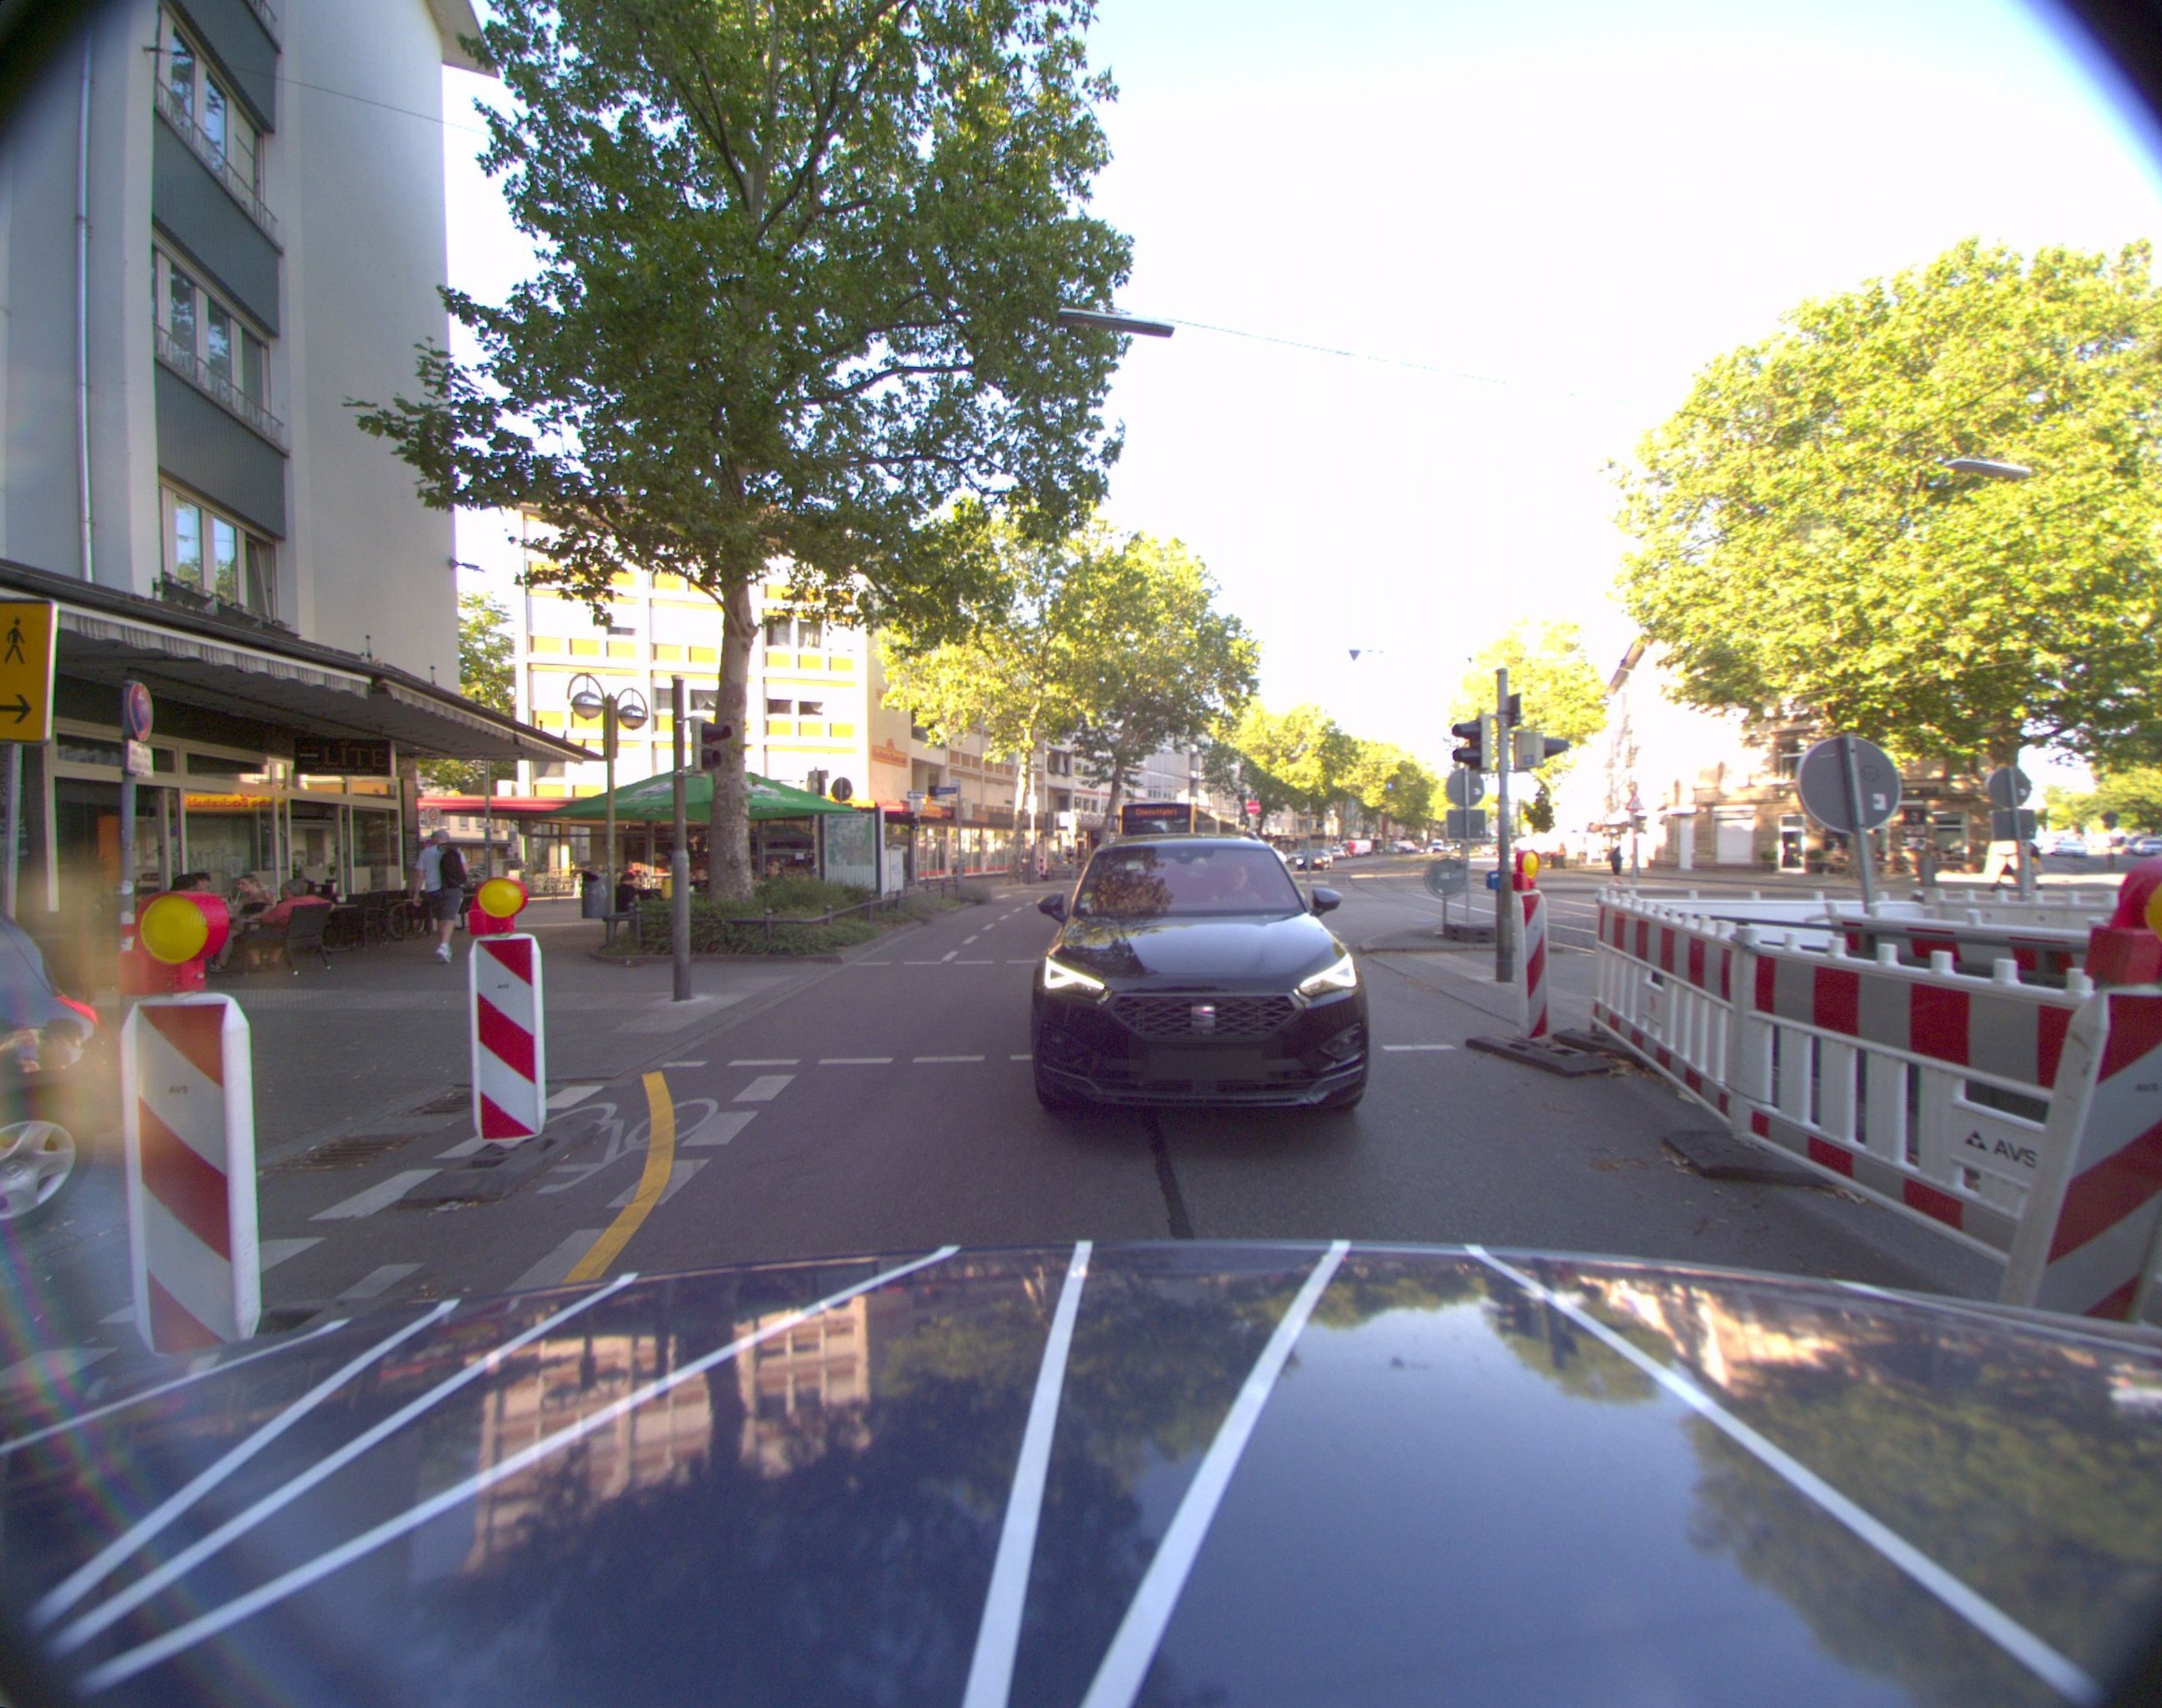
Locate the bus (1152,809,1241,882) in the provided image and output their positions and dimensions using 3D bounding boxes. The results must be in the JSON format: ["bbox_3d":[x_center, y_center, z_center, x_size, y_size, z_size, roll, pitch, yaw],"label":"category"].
[{"bbox_3d":[5.805,-0.400,36.783,2.717,3.088,8.608,0,1,19],"label":"bus"}]

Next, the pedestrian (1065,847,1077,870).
[{"bbox_3d":[-0.679,0.321,52.648,0.627,1.577,0.532,0,1,20],"label":"pedestrian"}]

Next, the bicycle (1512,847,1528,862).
[{"bbox_3d":[35.554,0.048,61.585,0.850,1.186,2.470,0,1,24],"label":"bicycle"}]

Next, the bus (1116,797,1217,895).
[{"bbox_3d":[3.452,-0.293,28.305,2.718,3.088,8.629,0,1,13],"label":"bus"}]

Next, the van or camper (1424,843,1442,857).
[{"bbox_3d":[71.307,-0.774,153.808,2.420,2.702,6.144,0,1,32],"label":"van or camper"}]

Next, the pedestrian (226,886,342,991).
[{"bbox_3d":[-9.838,1.009,9.390,0.877,1.186,0.701,0,1,24],"label":"pedestrian"}]

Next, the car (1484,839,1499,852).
[{"bbox_3d":[62.859,-1.261,116.296,1.994,2.002,4.007,0,1,29],"label":"car"}]

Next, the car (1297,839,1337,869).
[{"bbox_3d":[16.566,-0.027,53.267,1.995,2.002,4.007,0,1,27],"label":"car"}]

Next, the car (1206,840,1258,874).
[{"bbox_3d":[9.190,0.148,45.996,1.995,2.002,4.105,0,1,29],"label":"car"}]

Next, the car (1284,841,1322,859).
[{"bbox_3d":[24.583,-0.414,84.245,3.991,2.002,2.003,0,1,18],"label":"car"}]

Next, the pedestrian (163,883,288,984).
[{"bbox_3d":[-10.772,0.980,9.594,0.647,1.186,0.792,0,1,7],"label":"pedestrian"}]

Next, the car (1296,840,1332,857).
[{"bbox_3d":[28.351,-0.692,92.519,3.994,2.002,2.001,-1,1,8],"label":"car"}]

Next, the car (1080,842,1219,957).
[{"bbox_3d":[1.018,0.639,13.000,1.998,1.634,4.075,-1,1,1],"label":"car"}]

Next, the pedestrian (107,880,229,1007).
[{"bbox_3d":[-10.157,0.959,8.464,0.789,1.299,0.701,0,1,28],"label":"pedestrian"}]

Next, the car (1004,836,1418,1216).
[{"bbox_3d":[0.611,0.758,5.403,1.841,1.696,4.000,-1,1,1],"label":"car"}]

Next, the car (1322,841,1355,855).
[{"bbox_3d":[36.456,-0.847,107.643,3.994,2.002,2.001,-1,1,8],"label":"car"}]

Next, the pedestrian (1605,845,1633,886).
[{"bbox_3d":[20.310,0.434,28.695,0.603,1.524,0.745,0,1,12],"label":"pedestrian"}]

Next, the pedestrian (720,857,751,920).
[{"bbox_3d":[-9.115,0.907,20.078,0.629,1.628,0.531,-1,1,-15],"label":"pedestrian"}]

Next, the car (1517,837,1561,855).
[{"bbox_3d":[52.395,-0.951,86.917,4.001,2.002,1.997,-1,1,-13],"label":"car"}]

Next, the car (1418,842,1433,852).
[{"bbox_3d":[60.847,-1.214,134.212,1.836,1.692,4.138,0,1,31],"label":"car"}]

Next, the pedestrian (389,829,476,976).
[{"bbox_3d":[-9.010,0.640,10.590,0.649,1.948,0.888,-1,1,-23],"label":"pedestrian"}]

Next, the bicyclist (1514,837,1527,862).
[{"bbox_3d":[35.600,-0.402,61.545,0.854,2.002,0.985,0,1,27],"label":"bicyclist"}]

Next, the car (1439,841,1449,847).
[{"bbox_3d":[81.836,-2.271,171.318,1.700,1.462,3.771,0,1,31],"label":"car"}]

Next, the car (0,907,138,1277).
[{"bbox_3d":[-5.229,0.977,1.700,1.771,1.459,3.610,2,1,-2],"label":"car"}]

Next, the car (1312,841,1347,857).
[{"bbox_3d":[32.266,-0.681,98.617,3.994,2.002,2.001,-1,1,8],"label":"car"}]

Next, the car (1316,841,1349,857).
[{"bbox_3d":[34.195,-0.684,103.491,3.994,2.002,2.001,-1,1,8],"label":"car"}]

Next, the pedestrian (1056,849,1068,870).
[{"bbox_3d":[-1.322,0.388,52.926,0.627,1.429,0.532,0,1,20],"label":"pedestrian"}]

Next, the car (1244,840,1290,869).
[{"bbox_3d":[13.476,0.020,55.010,1.994,2.002,4.008,0,1,33],"label":"car"}]

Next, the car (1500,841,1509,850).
[{"bbox_3d":[91.852,-1.847,164.686,1.686,1.841,4.007,0,1,29],"label":"car"}]
